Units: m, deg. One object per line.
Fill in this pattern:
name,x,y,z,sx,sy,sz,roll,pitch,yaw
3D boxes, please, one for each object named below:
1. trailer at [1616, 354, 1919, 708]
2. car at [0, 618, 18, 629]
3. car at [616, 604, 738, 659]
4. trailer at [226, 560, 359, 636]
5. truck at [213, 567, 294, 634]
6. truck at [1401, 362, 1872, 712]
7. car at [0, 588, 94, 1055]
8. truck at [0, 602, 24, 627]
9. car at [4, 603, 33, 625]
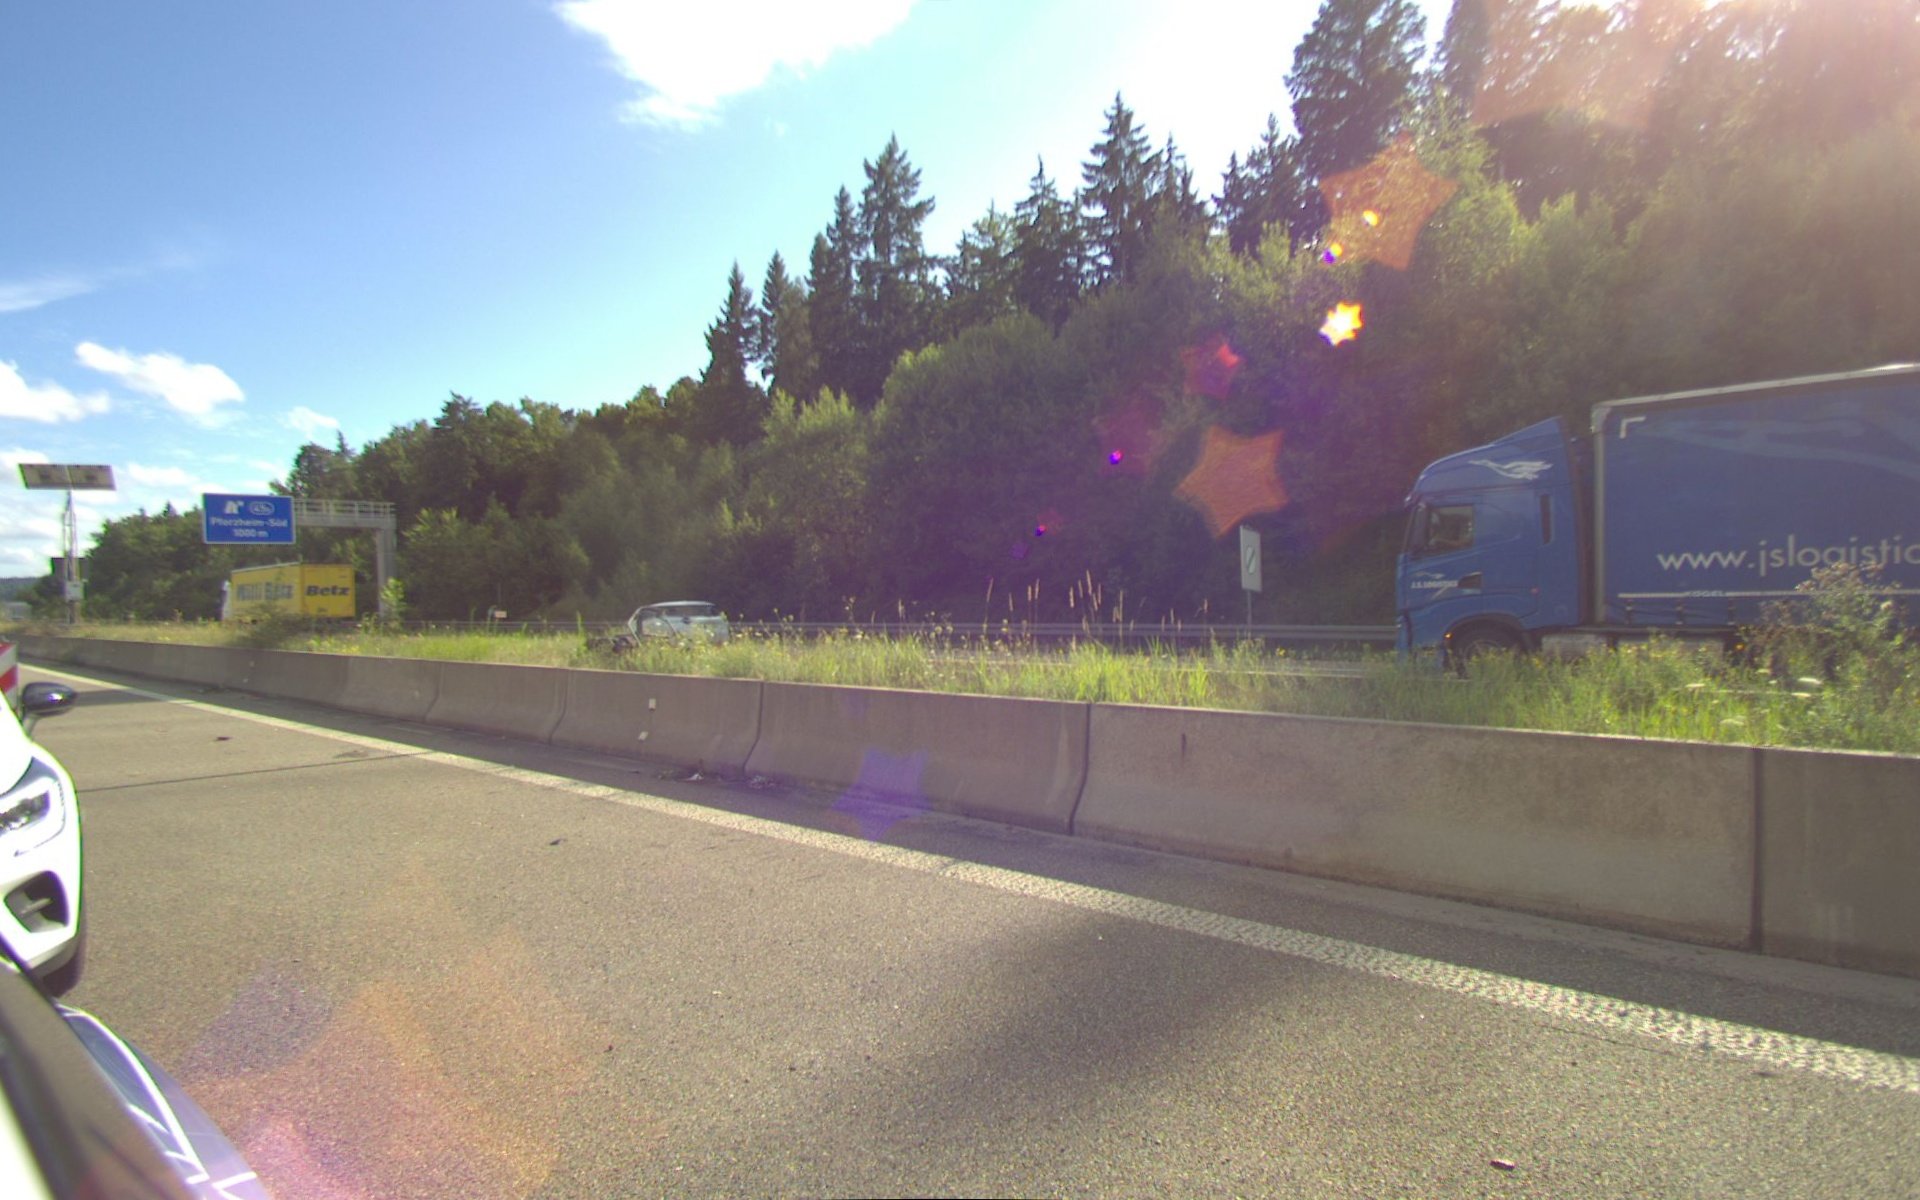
trailer,14.905,-0.830,10.503,13.366,4.172,2.592,0,1,41
car,-120.053,2.948,127.309,4.286,1.373,1.938,-1,0,41
car,-8.853,0.931,31.489,3.998,1.572,1.768,-1,0,41
trailer,-38.616,-0.060,58.223,13.934,3.952,2.798,-1,0,41
truck,-43.882,0.027,62.820,5.946,3.938,2.797,-1,0,41
truck,9.800,-0.774,15.011,5.465,4.220,2.610,0,1,41
car,-5.081,0.756,4.130,3.881,1.549,1.817,-1,0,41
truck,-162.595,2.498,173.079,10.180,4.022,2.771,-1,0,41
car,-148.605,2.257,159.734,7.448,3.395,2.461,-1,0,41
